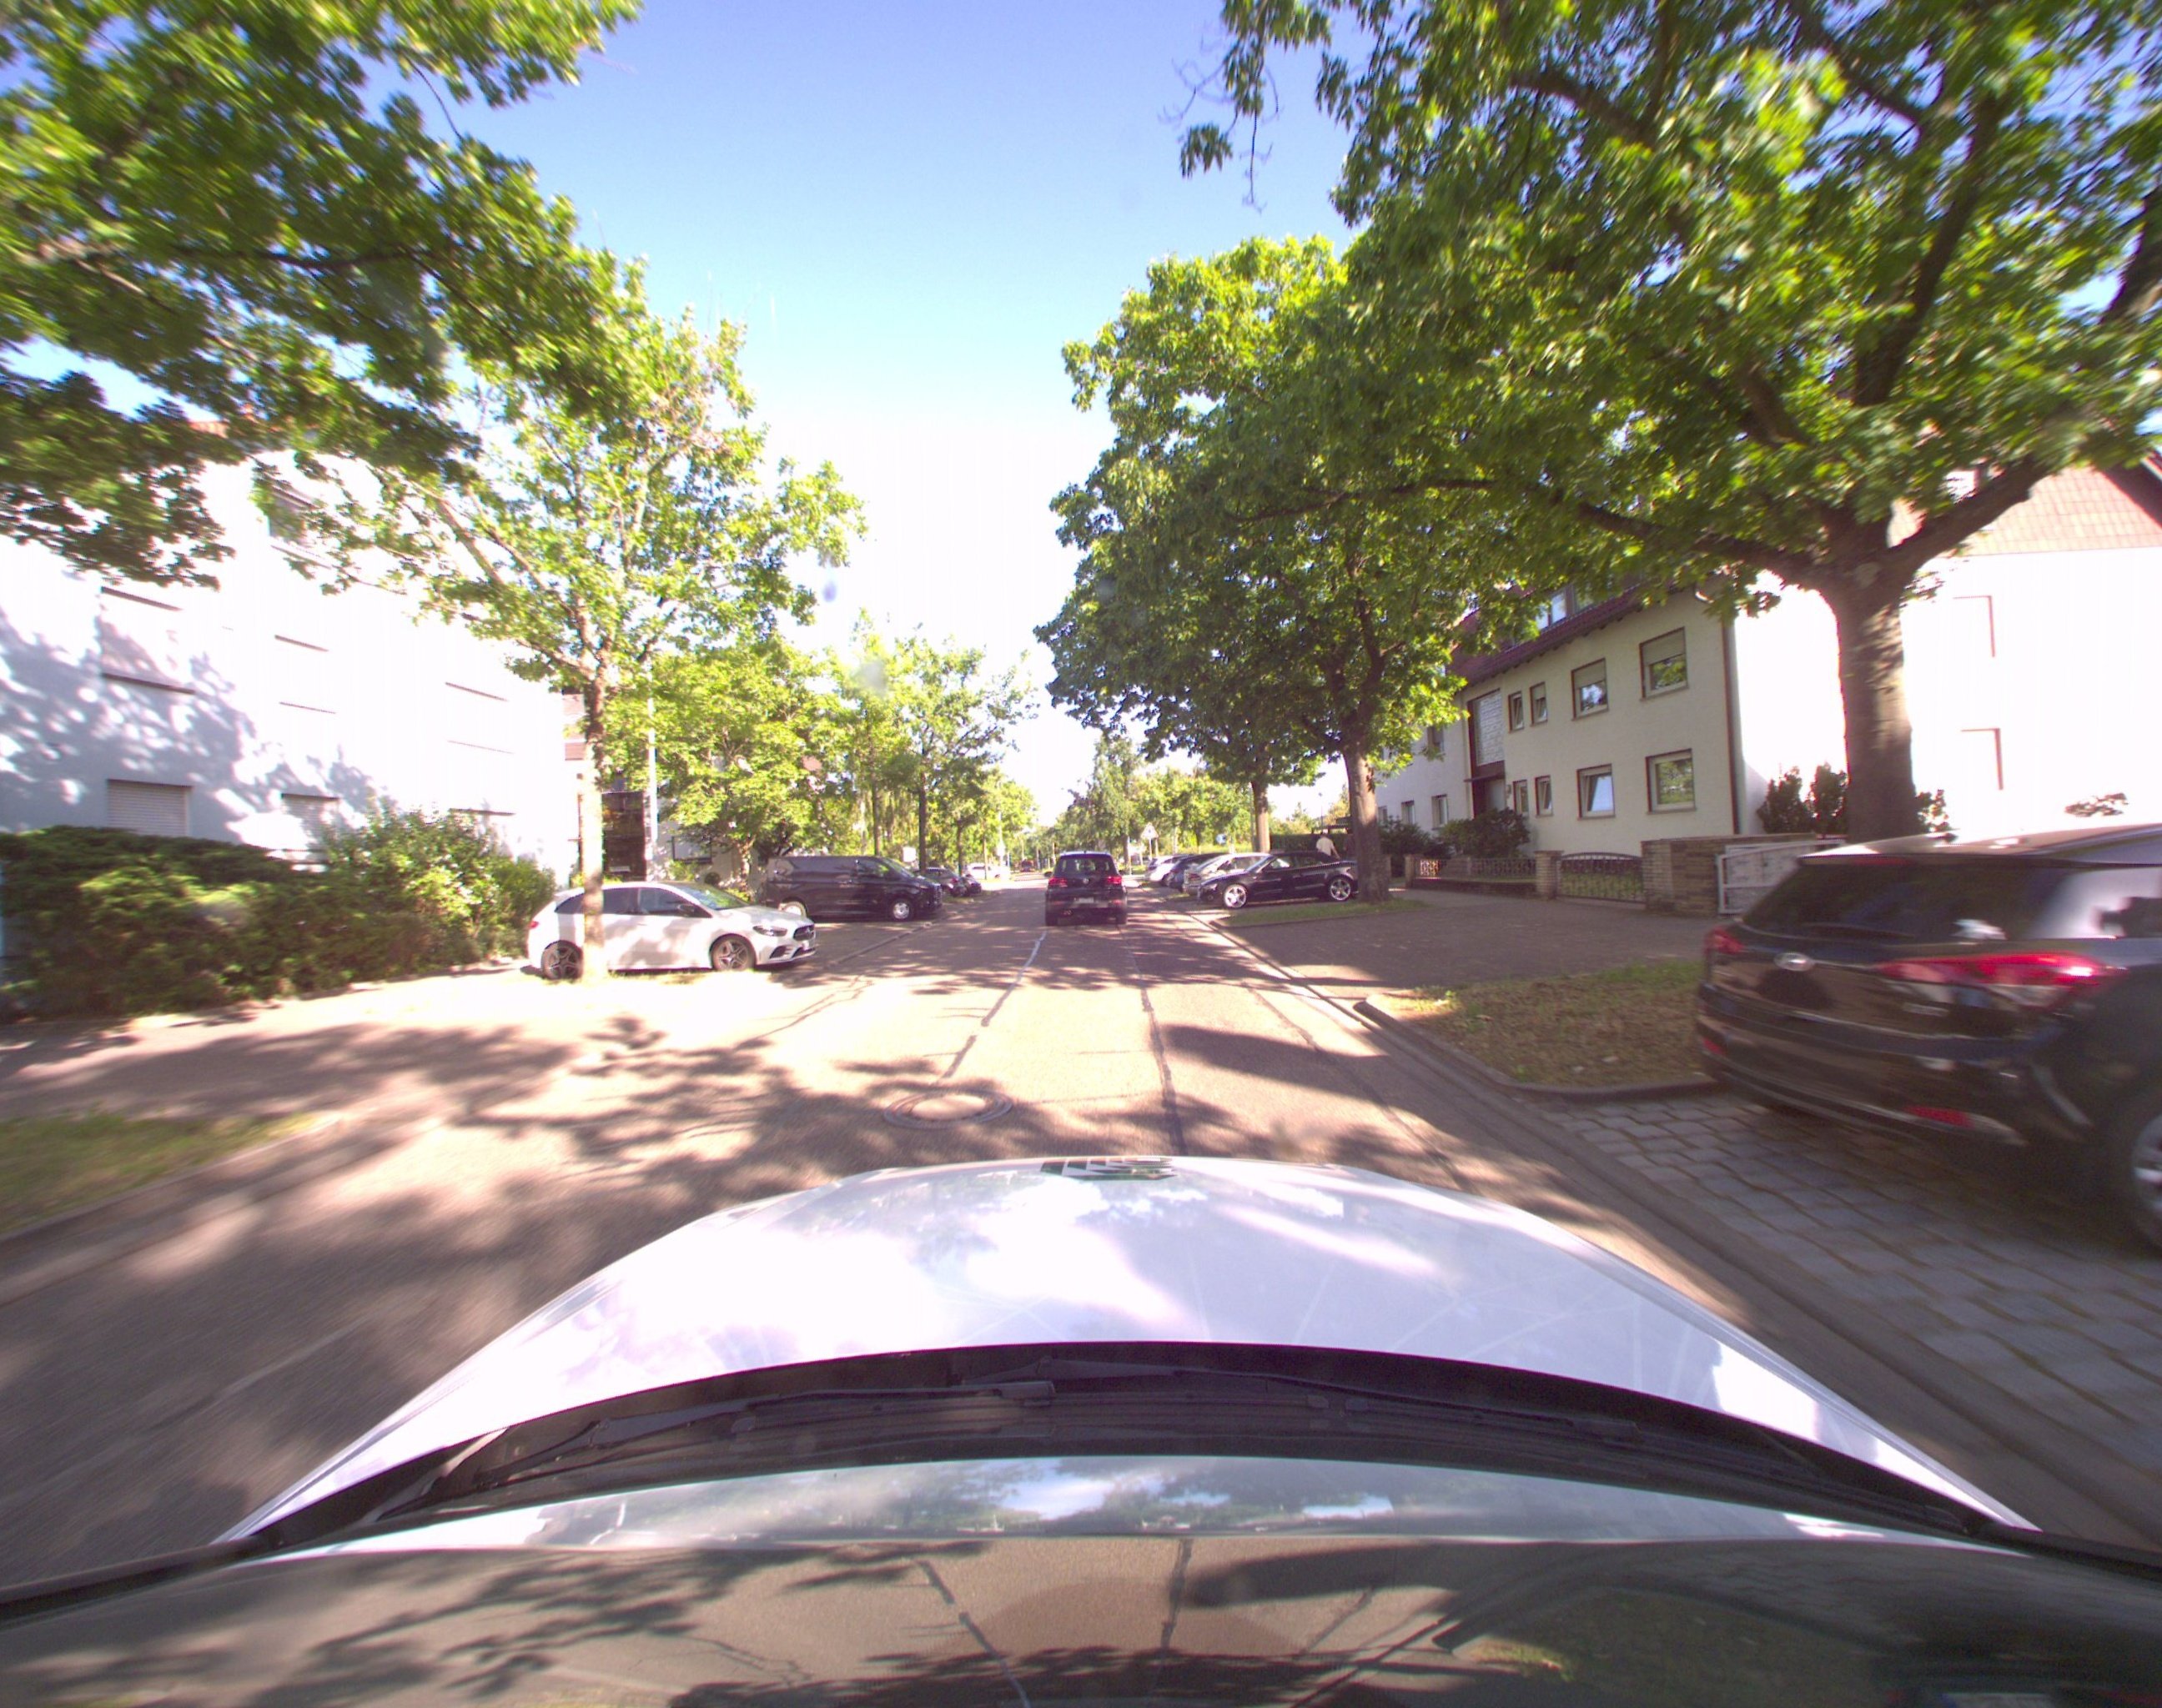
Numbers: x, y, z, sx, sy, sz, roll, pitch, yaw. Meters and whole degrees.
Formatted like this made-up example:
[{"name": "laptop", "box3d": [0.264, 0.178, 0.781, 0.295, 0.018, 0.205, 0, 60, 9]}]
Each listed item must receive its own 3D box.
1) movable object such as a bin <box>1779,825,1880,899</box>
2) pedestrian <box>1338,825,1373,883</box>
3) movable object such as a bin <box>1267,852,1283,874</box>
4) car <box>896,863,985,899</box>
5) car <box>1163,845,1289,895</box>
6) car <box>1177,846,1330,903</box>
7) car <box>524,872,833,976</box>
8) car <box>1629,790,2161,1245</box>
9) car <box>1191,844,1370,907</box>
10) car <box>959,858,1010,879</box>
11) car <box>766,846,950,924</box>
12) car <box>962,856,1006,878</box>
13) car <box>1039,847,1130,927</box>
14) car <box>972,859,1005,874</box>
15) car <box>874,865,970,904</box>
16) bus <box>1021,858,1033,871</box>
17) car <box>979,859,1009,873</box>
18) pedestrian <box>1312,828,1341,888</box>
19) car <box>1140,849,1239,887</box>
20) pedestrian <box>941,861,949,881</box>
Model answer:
[{"name": "movable object such as a bin", "box3d": [11.880, 0.131, 12.956, 0.700, 1.099, 0.906, -3, -1, 0]}, {"name": "pedestrian", "box3d": [8.988, 0.005, 26.690, 0.831, 1.828, 0.711, -3, -1, 3]}, {"name": "movable object such as a bin", "box3d": [9.671, 0.440, 40.588, 0.532, 1.045, 0.699, -3, 0, -1]}, {"name": "car", "box3d": [-6.712, 1.278, 39.049, 3.844, 1.458, 1.714, -4, 0, 1]}, {"name": "car", "box3d": [5.227, 0.568, 29.837, 4.261, 1.503, 1.797, -4, 0, 1]}, {"name": "car", "box3d": [5.192, 0.614, 24.872, 4.261, 1.414, 1.797, -4, 0, 1]}, {"name": "car", "box3d": [-6.581, 1.118, 13.645, 4.260, 1.478, 1.769, -1, 0, 1]}, {"name": "car", "box3d": [4.944, 0.488, 3.577, 3.867, 1.516, 1.662, -3, -1, 2]}, {"name": "car", "box3d": [5.300, 0.565, 22.056, 4.331, 1.363, 1.873, -4, -1, 0]}, {"name": "car", "box3d": [-8.582, 1.289, 72.720, 4.233, 1.623, 1.894, -4, 0, -4]}, {"name": "car", "box3d": [-6.481, 0.874, 24.059, 4.765, 1.917, 2.018, -4, 0, -1]}, {"name": "car", "box3d": [-9.273, 1.263, 78.051, 4.008, 1.839, 1.894, -4, 0, -4]}, {"name": "car", "box3d": [0.188, 0.717, 19.441, 1.830, 1.636, 3.962, -2, 0, 4]}, {"name": "car", "box3d": [-11.651, 1.581, 102.908, 4.008, 1.647, 1.809, -4, 0, -4]}, {"name": "car", "box3d": [-6.974, 1.326, 35.978, 3.807, 1.419, 1.771, -4, 0, -1]}, {"name": "bus", "box3d": [-13.385, 2.598, 202.205, 2.922, 3.004, 5.730, -3, -1, -3]}, {"name": "car", "box3d": [-12.153, 1.644, 113.880, 4.008, 1.647, 1.809, -4, 0, -4]}, {"name": "pedestrian", "box3d": [7.906, 0.142, 26.238, 0.605, 1.873, 0.924, -3, -1, 3]}, {"name": "car", "box3d": [5.088, 0.629, 38.578, 4.412, 1.491, 1.797, -4, 0, 1]}, {"name": "pedestrian", "box3d": [-10.971, 1.398, 65.842, 0.439, 1.557, 0.800, -3, 0, -1]}]
